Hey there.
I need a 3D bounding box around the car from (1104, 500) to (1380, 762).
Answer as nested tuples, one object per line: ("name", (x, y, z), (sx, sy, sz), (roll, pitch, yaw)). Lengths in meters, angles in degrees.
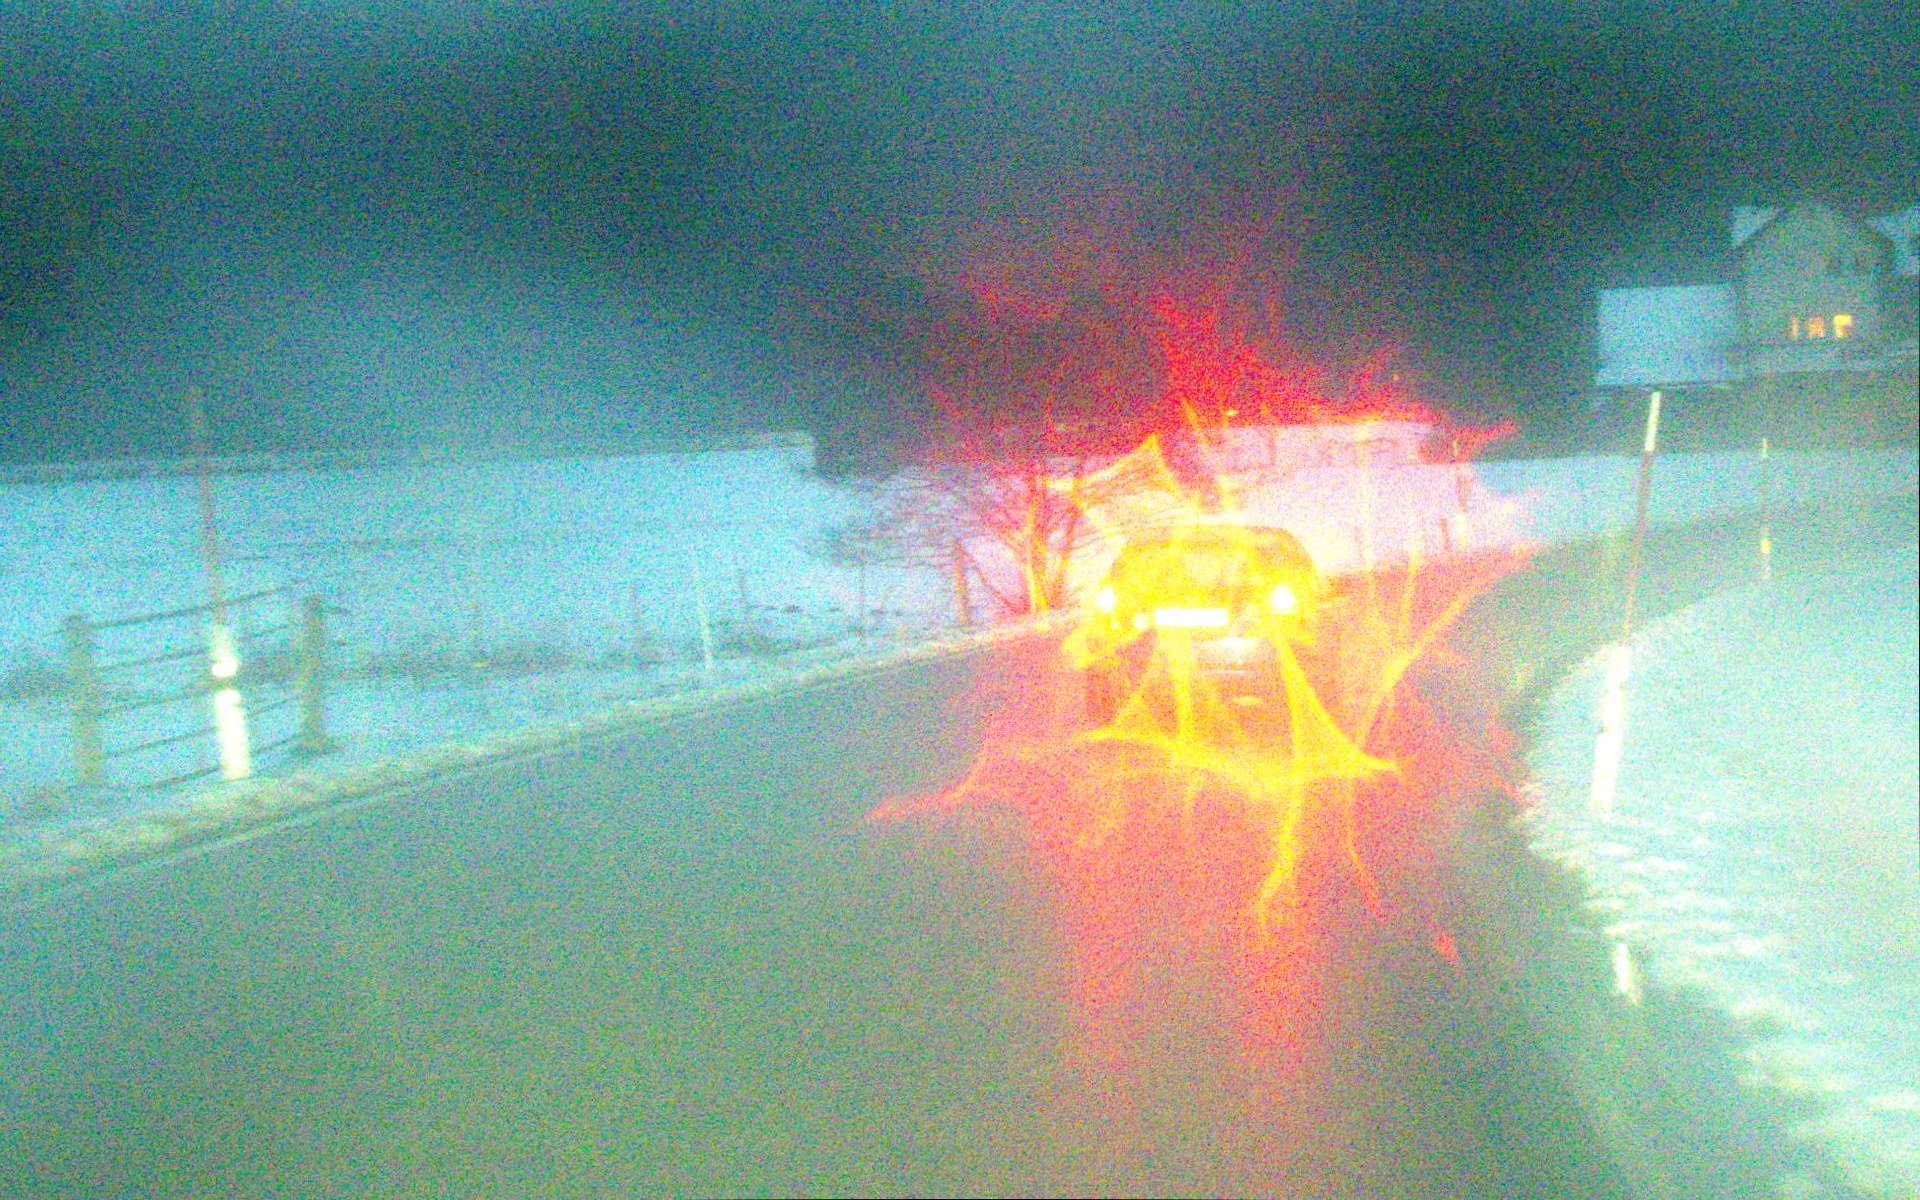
("car", (2.218, 0.191, 26.214), (1.823, 1.790, 3.577), (-2, 1, 8))
